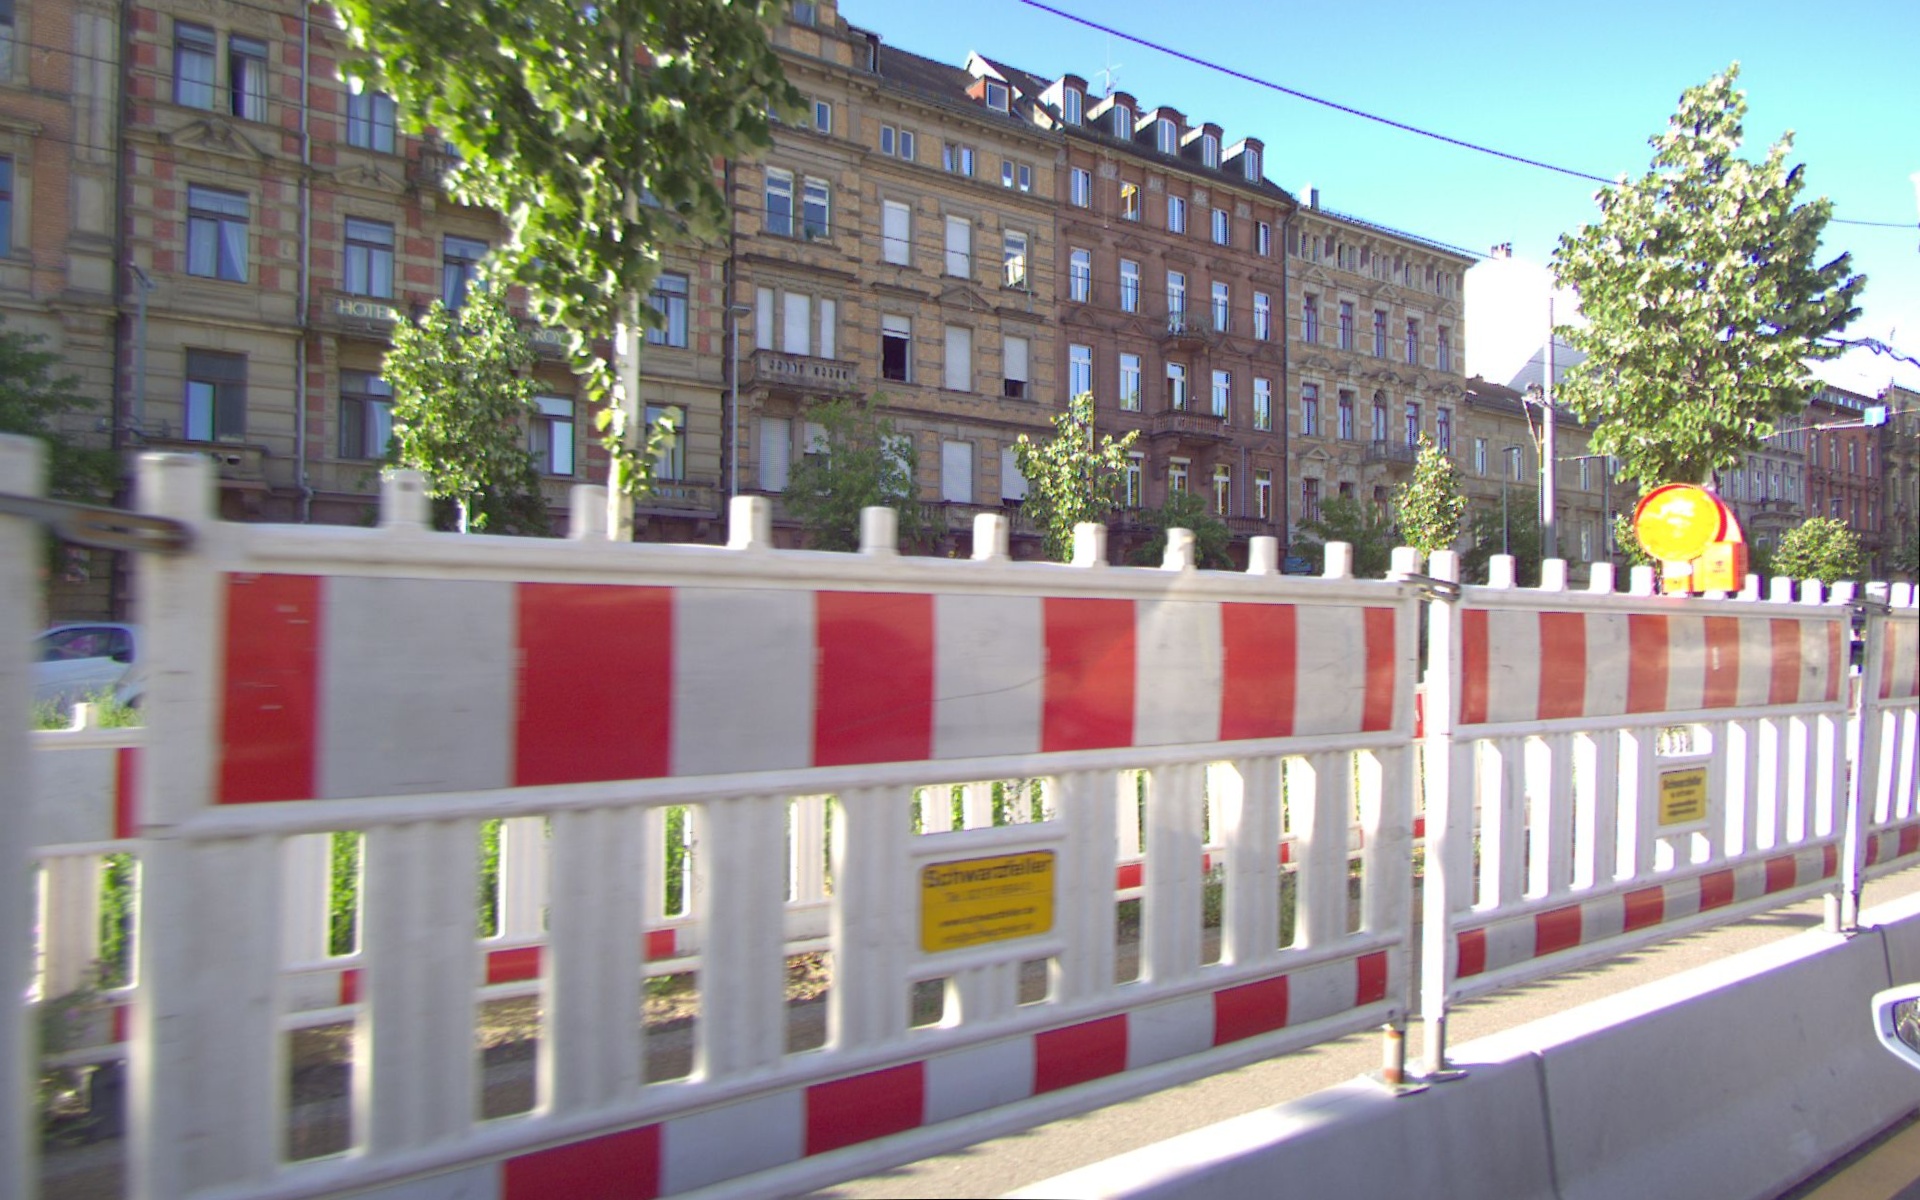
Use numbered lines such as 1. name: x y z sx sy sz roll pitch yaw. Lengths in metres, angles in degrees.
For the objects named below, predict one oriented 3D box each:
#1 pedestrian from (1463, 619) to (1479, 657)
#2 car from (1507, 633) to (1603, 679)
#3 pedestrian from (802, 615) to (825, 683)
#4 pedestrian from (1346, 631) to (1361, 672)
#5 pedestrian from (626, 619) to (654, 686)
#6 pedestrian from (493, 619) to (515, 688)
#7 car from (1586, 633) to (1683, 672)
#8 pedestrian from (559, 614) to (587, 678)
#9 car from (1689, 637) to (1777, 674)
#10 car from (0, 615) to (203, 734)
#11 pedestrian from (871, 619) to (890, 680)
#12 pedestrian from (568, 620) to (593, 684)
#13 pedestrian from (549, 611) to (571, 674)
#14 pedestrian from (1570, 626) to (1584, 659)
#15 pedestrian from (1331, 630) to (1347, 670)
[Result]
1. pedestrian: 22.368 1.662 43.992 0.431 1.606 0.457 1 0 -36
2. car: 23.240 2.150 39.212 3.764 1.697 1.559 1 -2 -30
3. pedestrian: -3.971 1.320 27.239 0.401 1.788 0.505 1 0 -29
4. pedestrian: 15.609 2.024 39.859 0.335 1.606 0.427 1 0 -29
5. pedestrian: -7.846 1.274 24.611 0.527 1.606 0.484 1 0 -29
6. pedestrian: -10.833 1.263 23.859 0.420 1.606 0.401 1 0 -30
7. car: 28.954 2.216 43.071 4.659 1.583 1.559 1 -2 -30
8. pedestrian: -9.893 1.160 25.693 0.474 1.606 0.482 2 0 3
9. car: 35.016 2.472 45.476 4.659 1.583 1.559 1 -2 -31
10. car: -12.521 0.961 13.425 3.578 1.502 1.588 1 -2 -28
11. pedestrian: -2.357 1.454 29.619 0.401 1.788 0.365 1 0 -29
12. pedestrian: -9.618 1.304 25.471 0.361 1.606 0.406 2 0 21
13. pedestrian: -10.246 1.084 25.737 0.383 1.606 0.386 2 0 1
14. pedestrian: 30.384 2.091 49.440 0.430 1.555 0.403 1 0 -29
15. pedestrian: 15.301 2.010 40.512 0.381 1.606 0.431 1 0 -32
